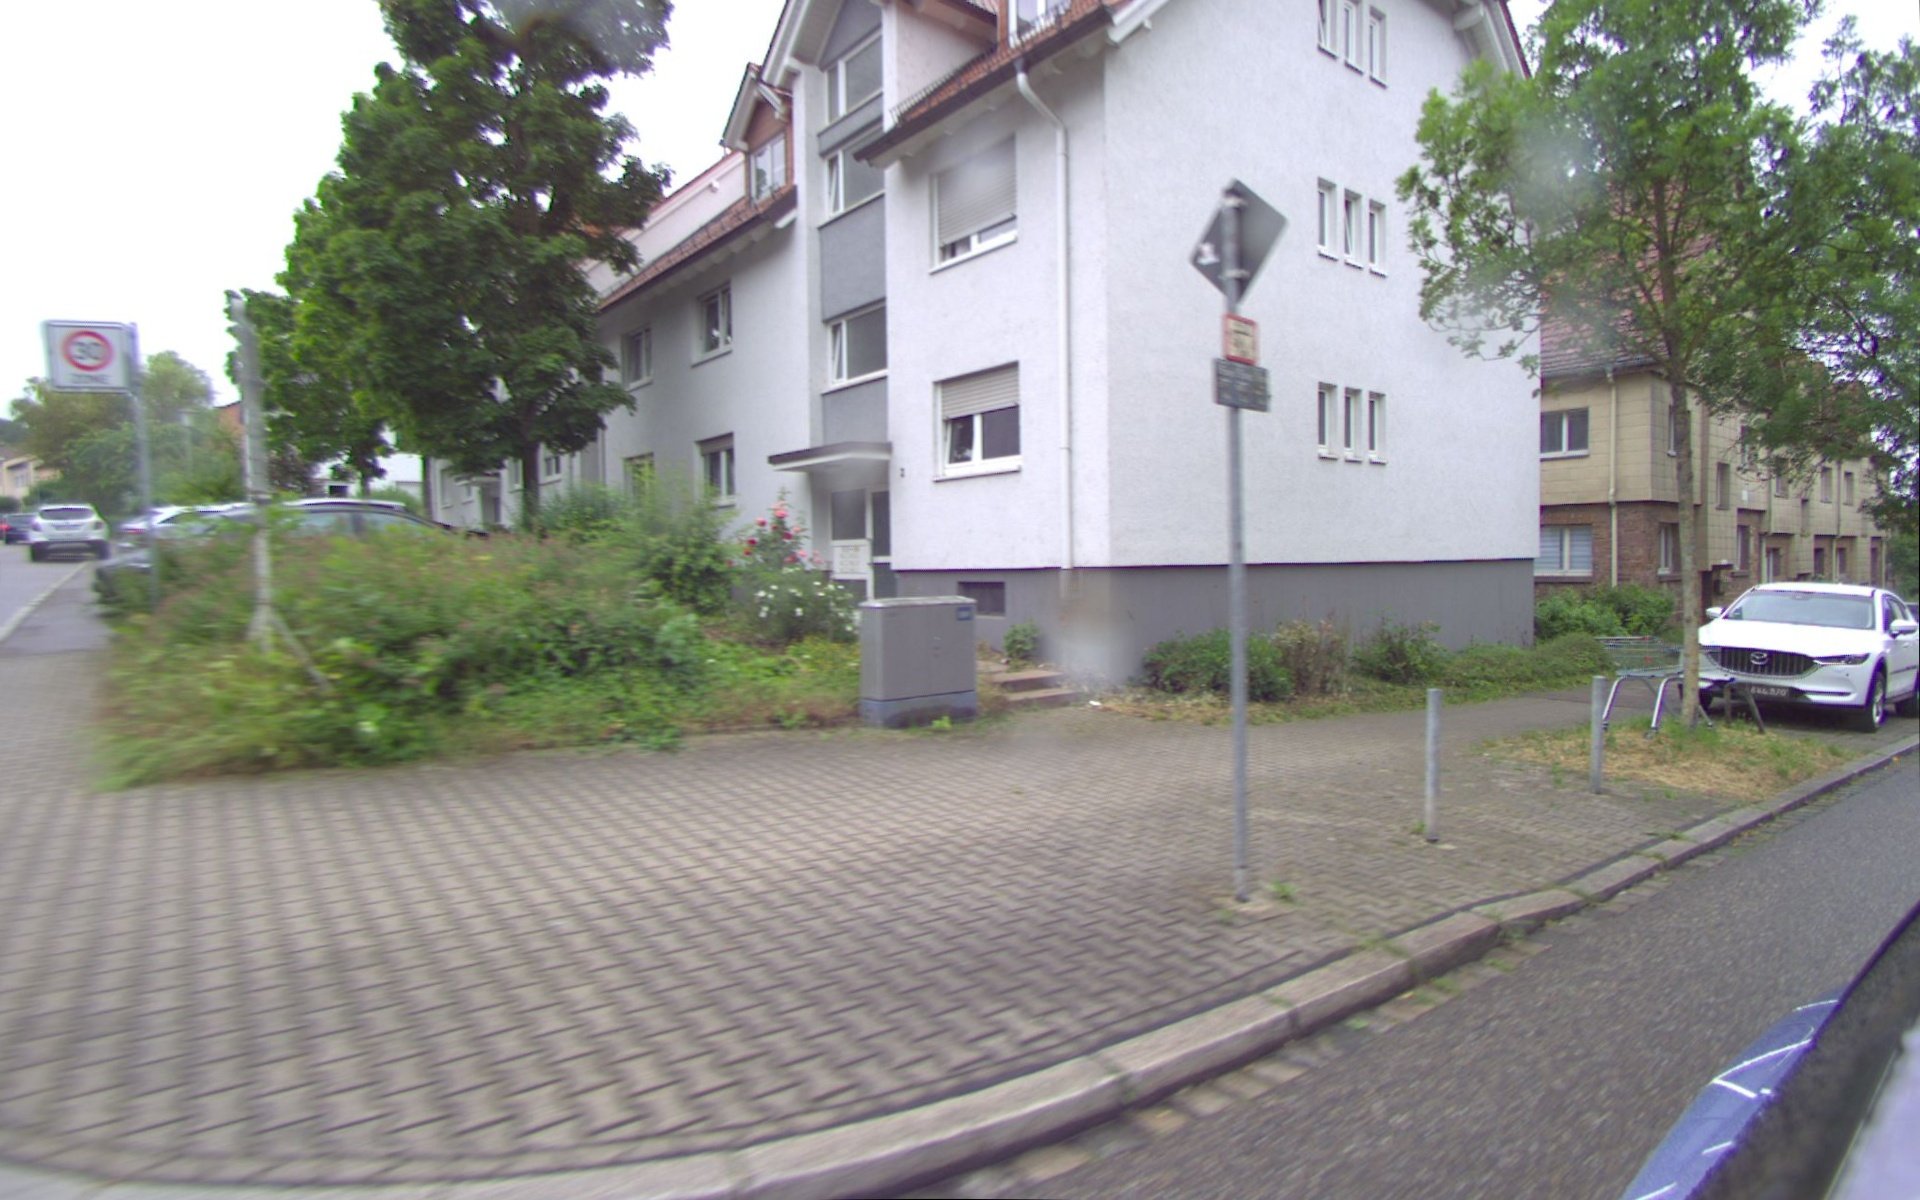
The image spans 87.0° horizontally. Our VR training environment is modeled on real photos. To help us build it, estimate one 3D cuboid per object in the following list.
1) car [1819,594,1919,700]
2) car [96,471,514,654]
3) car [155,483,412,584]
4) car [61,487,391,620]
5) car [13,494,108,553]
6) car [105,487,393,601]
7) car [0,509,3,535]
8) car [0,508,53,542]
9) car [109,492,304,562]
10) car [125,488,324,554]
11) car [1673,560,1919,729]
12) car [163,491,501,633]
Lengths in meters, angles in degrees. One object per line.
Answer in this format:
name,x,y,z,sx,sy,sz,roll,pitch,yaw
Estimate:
car,14.890,0.654,15.774,3.927,1.467,1.645,0,1,-40
car,-7.070,-0.380,11.157,3.606,1.704,1.686,1,3,-37
car,-12.673,-1.281,19.087,3.834,1.703,1.649,-3,7,-41
car,-10.214,-0.730,14.321,3.558,1.652,1.600,-3,7,-37
car,-26.672,-2.330,30.114,1.739,1.641,3.600,-5,7,-37
car,-11.396,-0.992,16.418,3.608,1.652,1.651,-4,8,-37
car,-58.082,-4.568,59.910,1.571,1.527,3.601,-4,7,-36
car,-45.472,-3.672,49.231,1.571,1.527,3.601,-4,7,-36
car,-17.904,-1.787,24.133,3.540,1.527,1.598,-6,8,-41
car,-20.845,-2.304,28.794,4.369,1.707,1.713,-5,8,-40
car,10.934,0.449,12.838,4.457,1.794,1.829,0,1,-38
car,-8.079,-0.577,13.194,3.535,1.601,1.650,-3,7,-37
